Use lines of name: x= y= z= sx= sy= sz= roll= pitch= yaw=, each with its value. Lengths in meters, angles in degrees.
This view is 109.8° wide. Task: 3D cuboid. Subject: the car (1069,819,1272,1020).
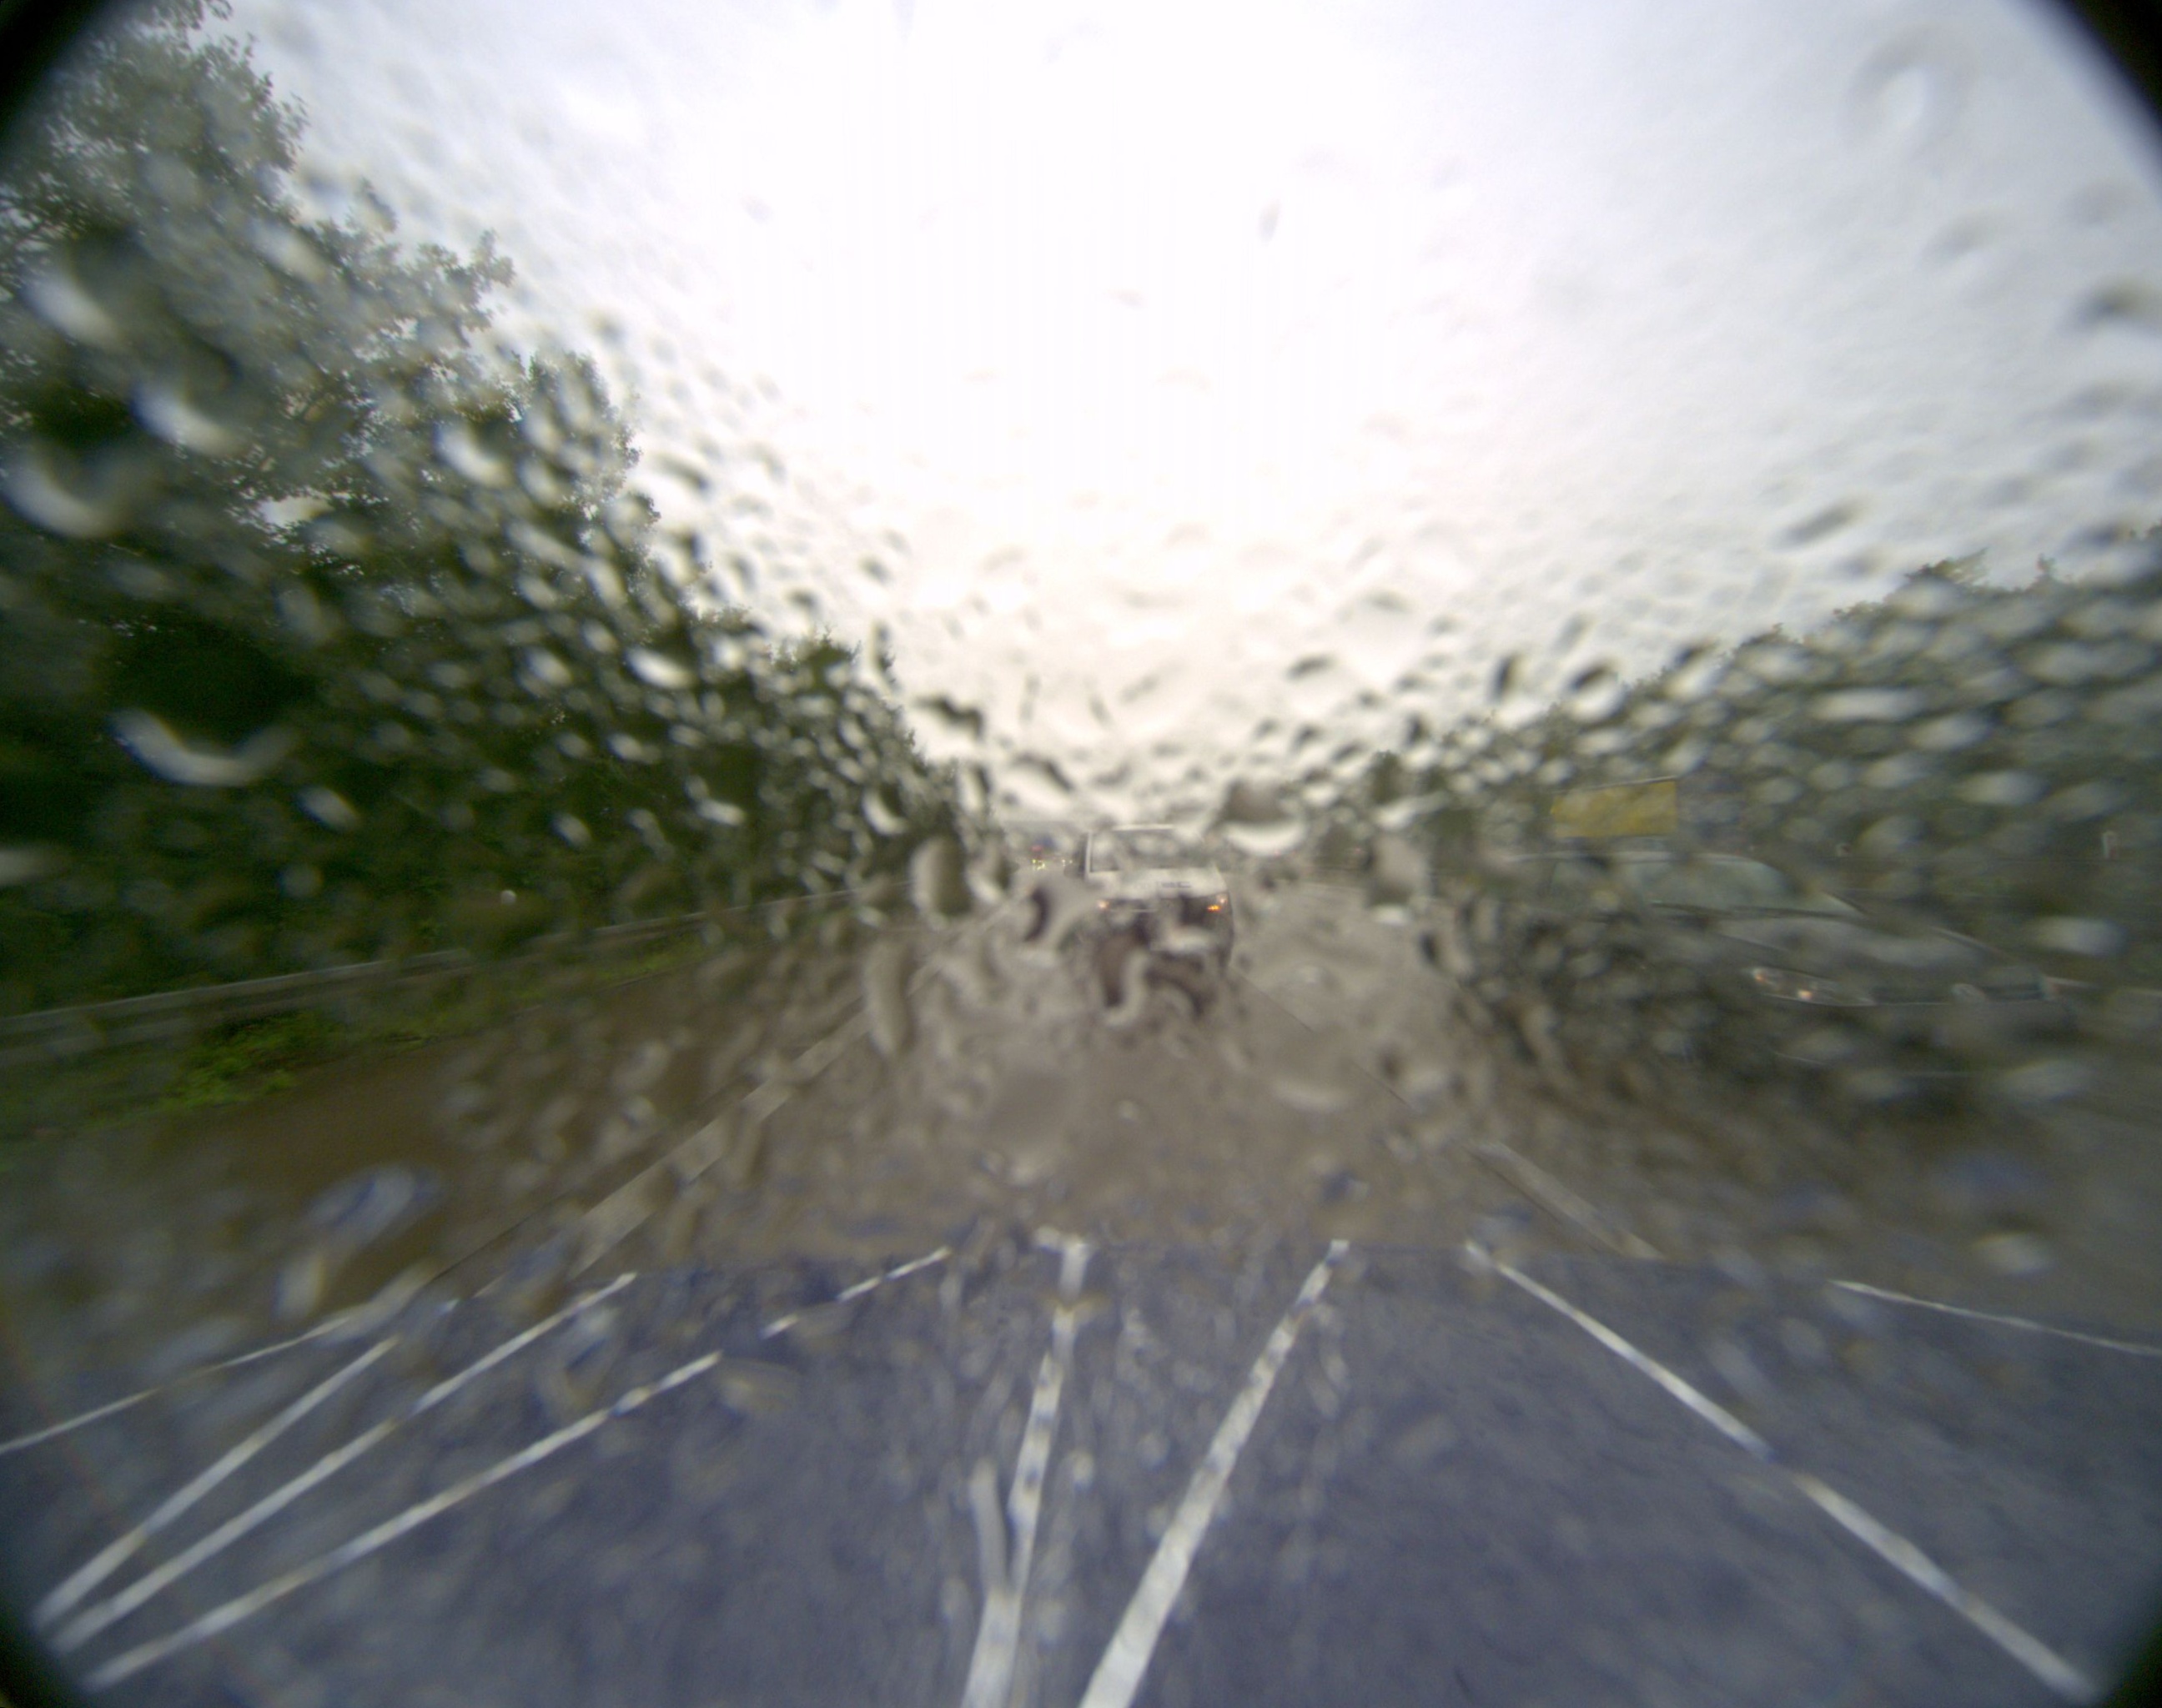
car: x=0.839 y=0.636 z=9.963 sx=1.904 sy=1.883 sz=5.042 roll=-3 pitch=0 yaw=-1

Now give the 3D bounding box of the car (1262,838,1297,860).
car: x=19.789 y=-0.503 z=76.073 sx=1.982 sy=2.002 sz=5.197 roll=-3 pitch=1 yaw=-1

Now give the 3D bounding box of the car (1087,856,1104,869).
car: x=1.686 y=0.968 z=88.603 sx=1.934 sy=1.426 sz=4.518 roll=1 pitch=0 yaw=0

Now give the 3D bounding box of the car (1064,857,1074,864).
car: x=-2.378 y=1.294 z=152.671 sx=1.934 sy=1.426 sz=4.518 roll=1 pitch=0 yaw=1

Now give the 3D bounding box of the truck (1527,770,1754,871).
truck: x=23.928 y=-1.265 z=33.467 sx=2.591 sy=3.679 sz=9.799 roll=-3 pitch=0 yaw=-1

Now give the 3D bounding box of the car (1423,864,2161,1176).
car: x=4.469 y=0.818 z=5.774 sx=1.745 sy=1.380 sz=4.320 roll=0 pitch=1 yaw=-1

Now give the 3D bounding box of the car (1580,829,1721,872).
car: x=20.485 y=-0.122 z=27.606 sx=1.757 sy=1.331 sz=4.425 roll=-3 pitch=0 yaw=0

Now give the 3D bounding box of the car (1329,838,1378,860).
car: x=20.384 y=-0.362 z=57.052 sx=1.921 sy=1.475 sz=4.473 roll=-3 pitch=1 yaw=-1

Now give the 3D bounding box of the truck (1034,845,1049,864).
truck: x=-9.070 y=0.127 z=174.622 sx=3.060 sy=3.994 sz=10.039 roll=1 pitch=-2 yaw=-5

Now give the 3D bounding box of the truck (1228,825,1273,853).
truck: x=21.640 y=-1.803 z=97.833 sx=2.781 sy=3.296 sz=11.513 roll=-3 pitch=0 yaw=-2
